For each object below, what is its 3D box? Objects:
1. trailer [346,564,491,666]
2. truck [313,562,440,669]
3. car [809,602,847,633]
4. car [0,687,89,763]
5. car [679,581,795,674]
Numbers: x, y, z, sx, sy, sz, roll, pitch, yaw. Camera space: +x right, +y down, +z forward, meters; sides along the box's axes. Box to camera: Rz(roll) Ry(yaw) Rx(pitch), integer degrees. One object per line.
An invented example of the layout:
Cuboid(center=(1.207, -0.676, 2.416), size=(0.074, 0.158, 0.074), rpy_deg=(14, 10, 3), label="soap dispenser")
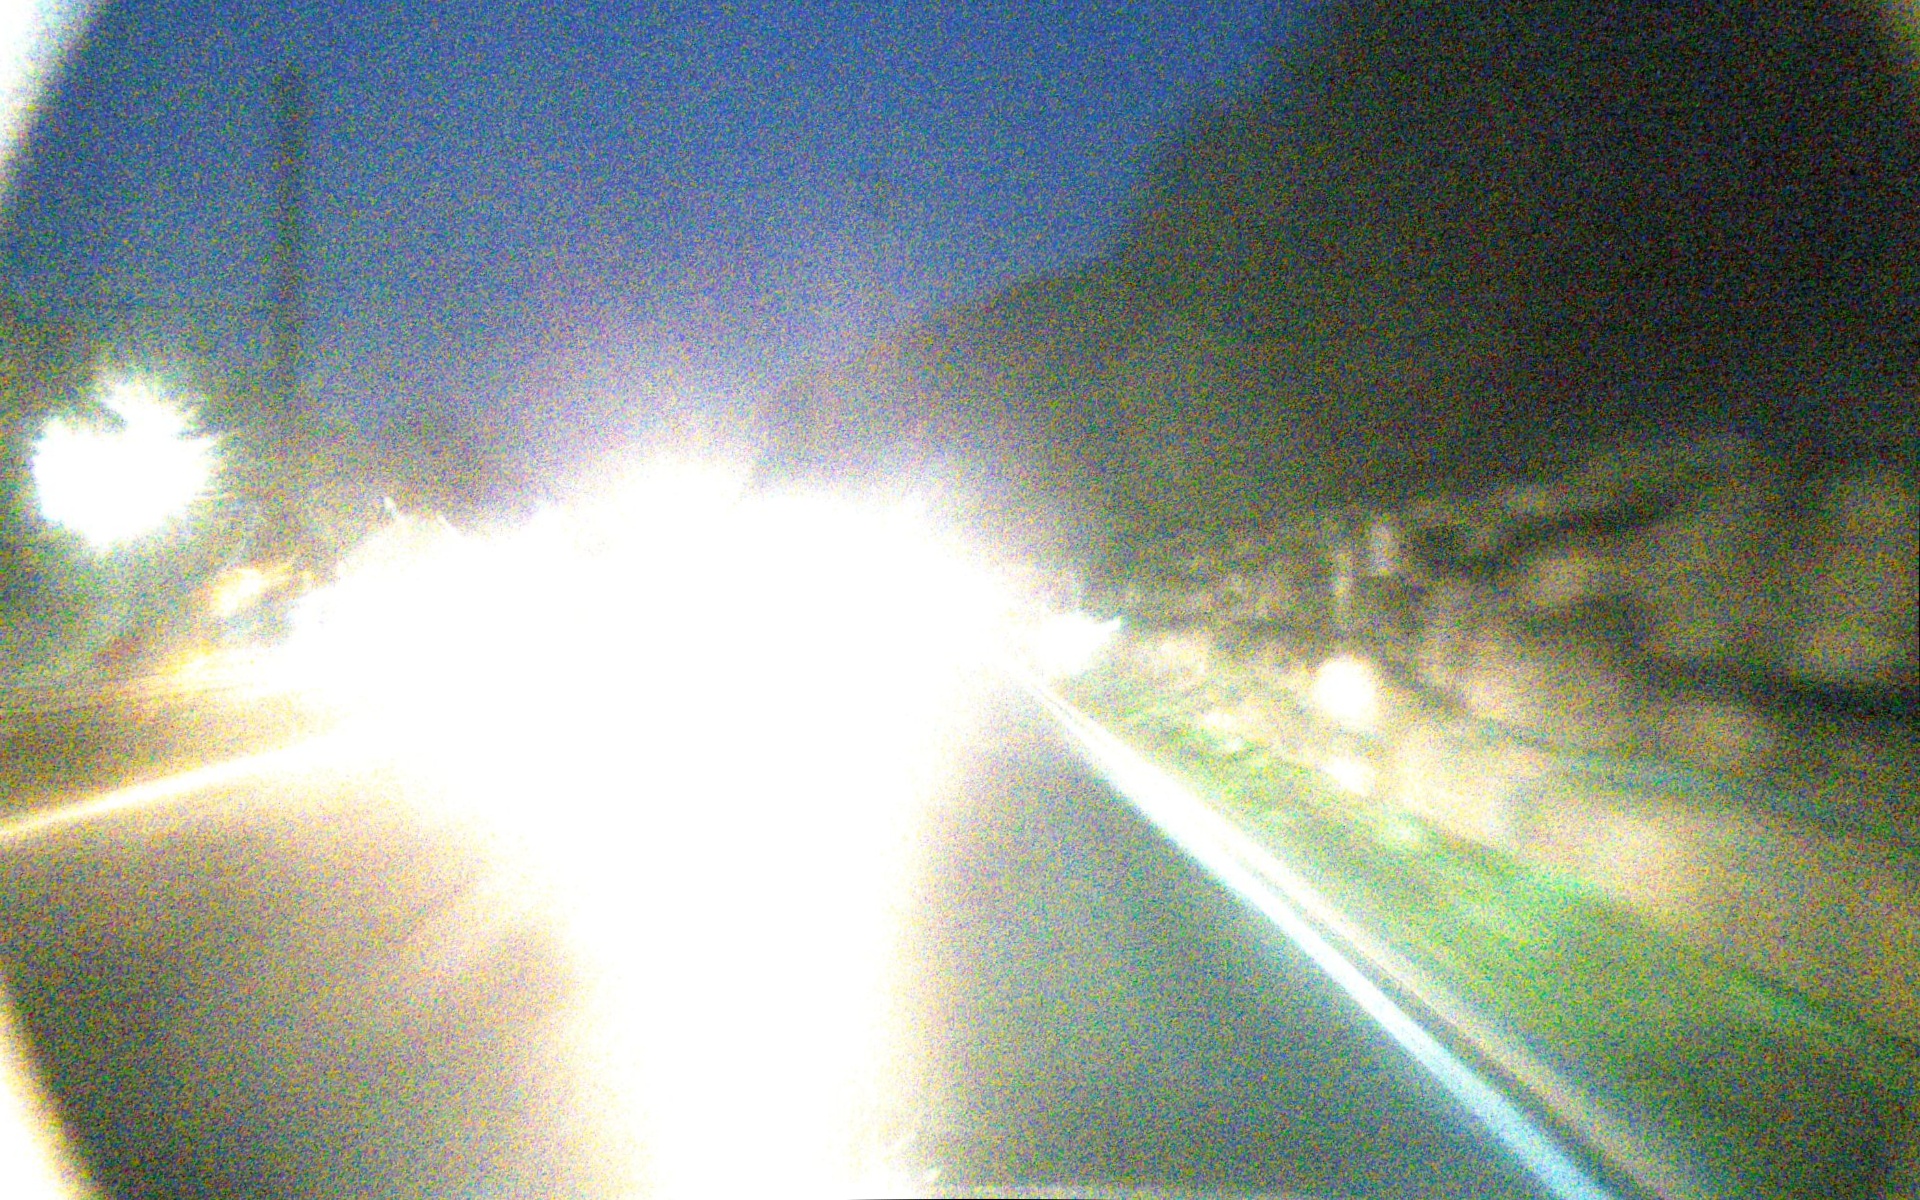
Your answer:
Cuboid(center=(-27.884, 0.728, 85.968), size=(3.258, 4.880, 11.558), rpy_deg=(1, 0, 2), label="trailer")
Cuboid(center=(-28.171, 0.716, 80.194), size=(3.258, 4.880, 7.321), rpy_deg=(1, 0, 2), label="truck")
Cuboid(center=(-6.459, 0.838, 81.356), size=(1.677, 1.442, 4.064), rpy_deg=(1, 0, -2), label="car")
Cuboid(center=(-25.431, 3.307, 44.496), size=(1.771, 1.705, 4.292), rpy_deg=(1, 0, -1), label="car")
Cuboid(center=(-4.224, 0.501, 31.821), size=(1.790, 1.646, 3.727), rpy_deg=(1, 0, -1), label="car")
